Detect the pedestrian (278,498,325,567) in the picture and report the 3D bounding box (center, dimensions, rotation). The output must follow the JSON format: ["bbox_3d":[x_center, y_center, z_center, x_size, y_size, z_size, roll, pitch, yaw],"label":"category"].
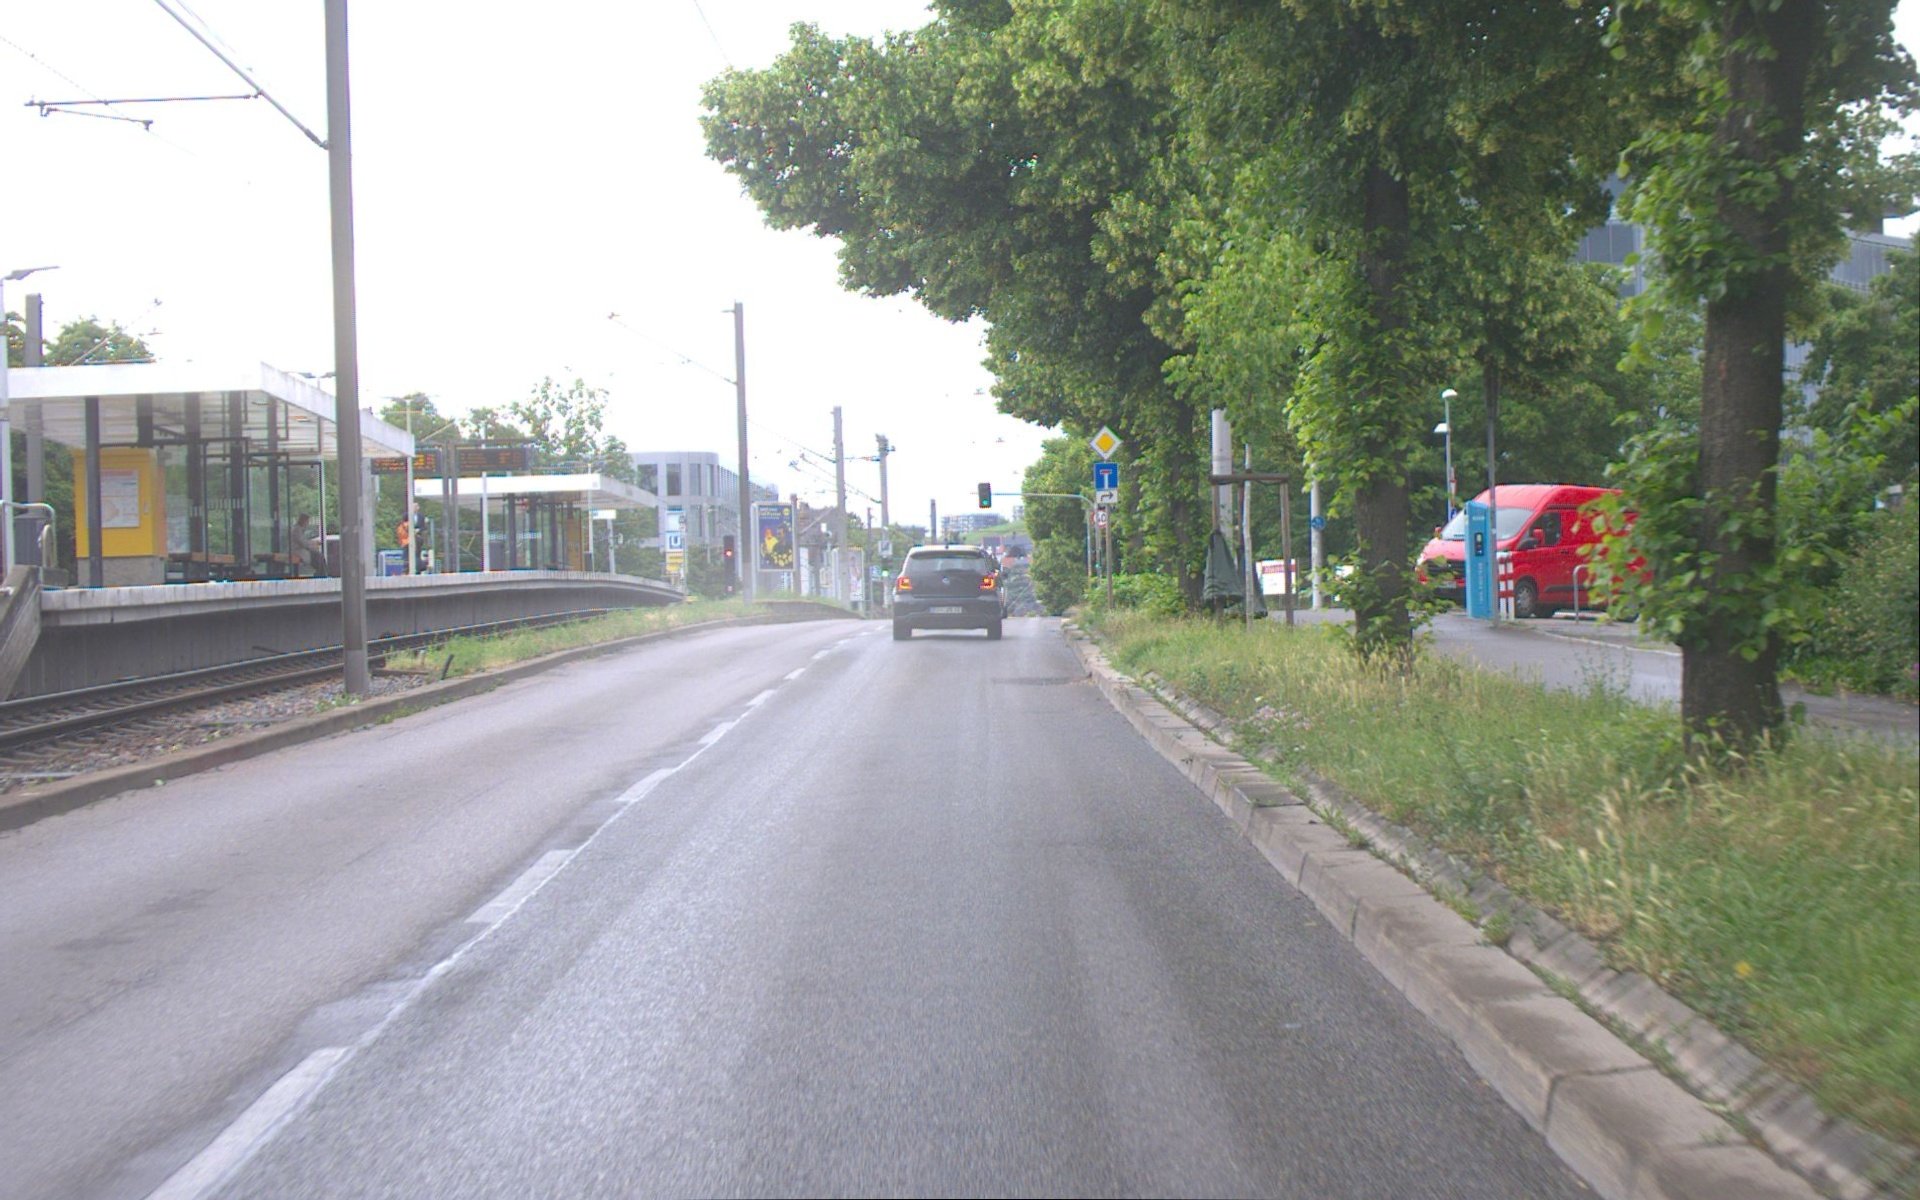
[{"bbox_3d":[-11.839,-1.209,61.840,0.710,1.221,0.619,-1,1,1],"label":"pedestrian"}]

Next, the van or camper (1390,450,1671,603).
[{"bbox_3d":[9.952,-1.251,59.717,2.040,2.398,5.377,4,1,44],"label":"van or camper"}]

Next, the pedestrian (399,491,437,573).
[{"bbox_3d":[-12.781,-1.612,81.107,0.743,1.903,0.842,0,2,-20],"label":"pedestrian"}]

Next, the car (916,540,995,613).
[{"bbox_3d":[-0.082,-0.546,76.288,1.687,1.512,4.000,-1,1,1],"label":"car"}]

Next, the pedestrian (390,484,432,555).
[{"bbox_3d":[-12.804,-1.885,80.150,0.794,1.641,0.919,0,2,-20],"label":"pedestrian"}]

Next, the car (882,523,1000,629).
[{"bbox_3d":[-0.276,-0.396,53.288,1.727,1.535,4.000,-1,1,0],"label":"car"}]
